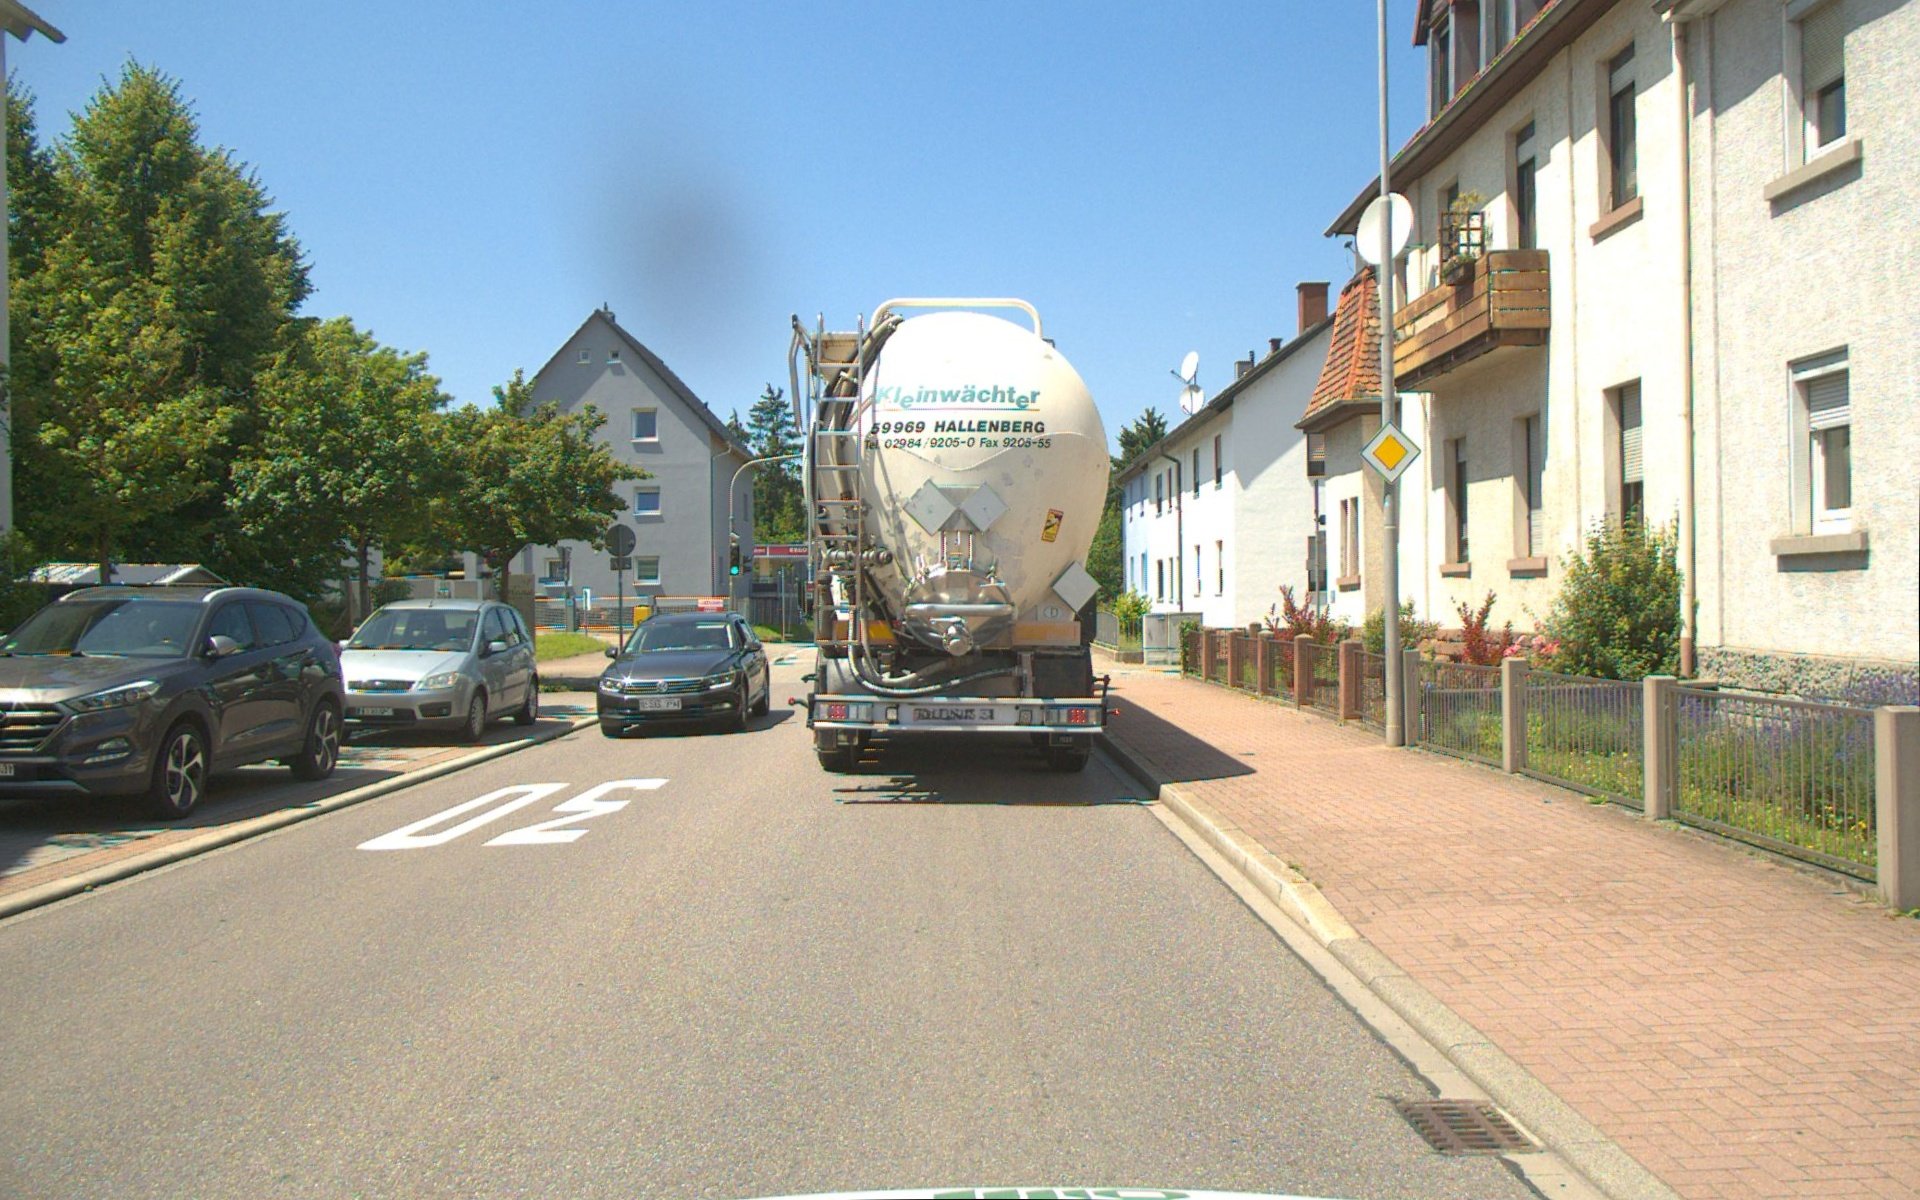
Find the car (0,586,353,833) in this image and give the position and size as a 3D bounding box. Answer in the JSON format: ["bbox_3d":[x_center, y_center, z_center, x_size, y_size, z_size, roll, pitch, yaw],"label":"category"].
[{"bbox_3d":[-6.348,0.734,13.040,1.657,1.648,3.997,0,0,0],"label":"car"}]

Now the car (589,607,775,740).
[{"bbox_3d":[-3.535,0.874,21.745,1.748,1.481,4.256,-3,0,-1],"label":"car"}]

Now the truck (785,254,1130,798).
[{"bbox_3d":[-0.060,-0.543,17.218,2.587,4.086,9.559,0,0,-1],"label":"truck"}]

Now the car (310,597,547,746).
[{"bbox_3d":[-6.229,0.777,19.814,1.663,1.608,3.836,0,0,-1],"label":"car"}]
